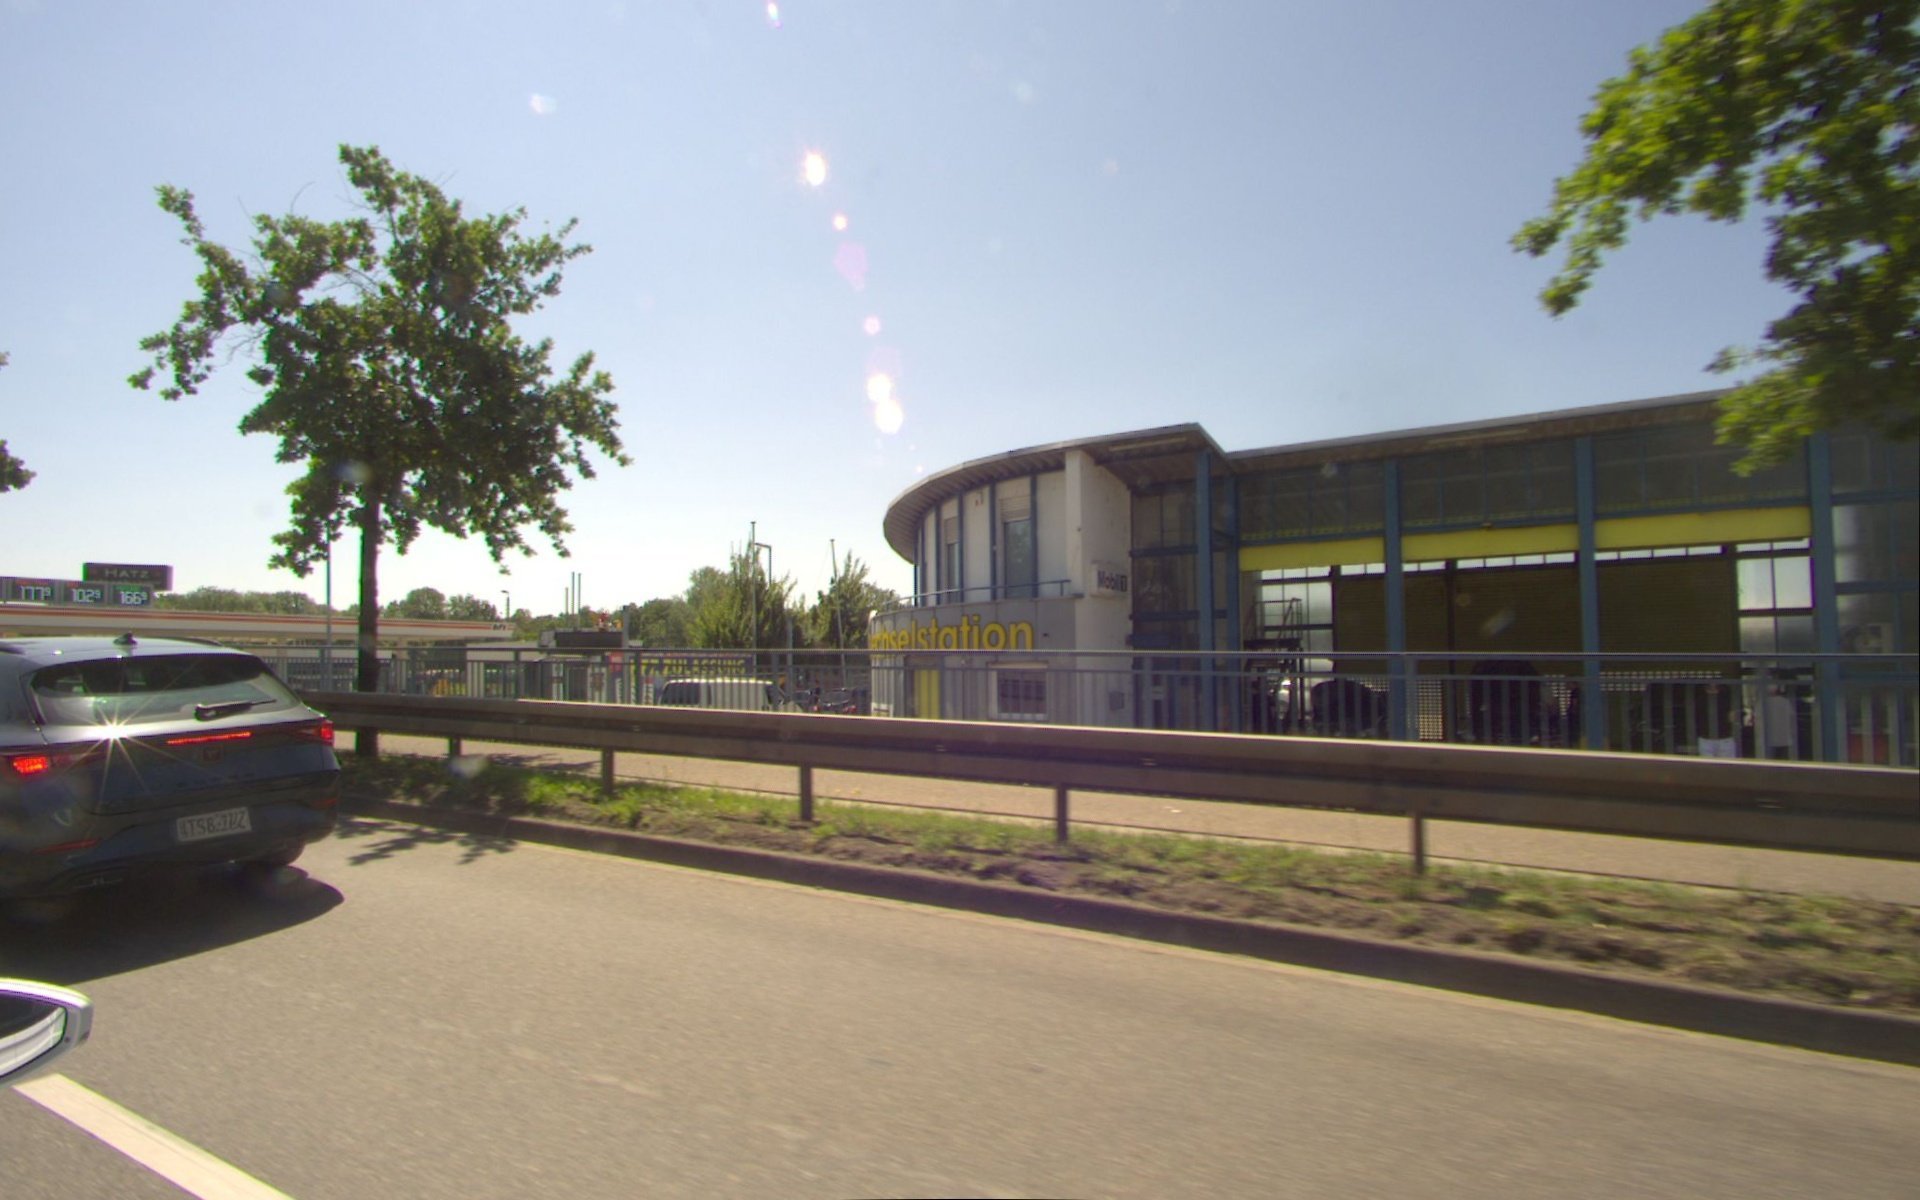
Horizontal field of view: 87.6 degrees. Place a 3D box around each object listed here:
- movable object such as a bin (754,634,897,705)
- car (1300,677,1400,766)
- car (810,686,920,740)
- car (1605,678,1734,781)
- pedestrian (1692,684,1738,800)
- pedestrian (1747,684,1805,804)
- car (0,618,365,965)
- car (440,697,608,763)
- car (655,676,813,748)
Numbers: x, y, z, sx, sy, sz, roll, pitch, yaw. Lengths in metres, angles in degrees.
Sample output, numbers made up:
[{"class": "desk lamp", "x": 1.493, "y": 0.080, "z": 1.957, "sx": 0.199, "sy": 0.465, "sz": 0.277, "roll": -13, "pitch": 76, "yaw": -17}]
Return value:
[{"class": "movable object such as a bin", "x": -7.573, "y": 3.927, "z": 58.640, "sx": 2.987, "sy": 3.753, "sz": 11.053, "roll": -2, "pitch": -3, "yaw": 23}, {"class": "car", "x": 8.853, "y": 2.650, "z": 22.600, "sx": 1.626, "sy": 1.705, "sz": 3.666, "roll": -2, "pitch": -3, "yaw": 28}, {"class": "car", "x": -3.089, "y": 3.699, "z": 33.227, "sx": 1.451, "sy": 1.493, "sz": 4.128, "roll": -2, "pitch": -3, "yaw": 31}, {"class": "car", "x": 13.874, "y": 2.453, "z": 19.765, "sx": 1.626, "sy": 1.705, "sz": 3.665, "roll": -2, "pitch": -3, "yaw": 29}, {"class": "pedestrian", "x": 11.641, "y": 2.170, "z": 15.454, "sx": 0.482, "sy": 1.724, "sz": 0.520, "roll": -2, "pitch": -2, "yaw": 34}, {"class": "pedestrian", "x": 12.240, "y": 2.140, "z": 15.034, "sx": 0.581, "sy": 1.724, "sz": 0.425, "roll": -2, "pitch": -2, "yaw": 33}, {"class": "car", "x": -5.592, "y": 0.920, "z": 5.948, "sx": 4.170, "sy": 1.474, "sz": 1.604, "roll": -2, "pitch": -3, "yaw": 28}, {"class": "car", "x": -10.011, "y": 2.980, "z": 23.161, "sx": 3.254, "sy": 1.325, "sz": 1.466, "roll": -1, "pitch": -2, "yaw": -5}, {"class": "car", "x": -6.183, "y": 3.034, "z": 27.923, "sx": 1.573, "sy": 1.680, "sz": 4.588, "roll": -2, "pitch": -3, "yaw": 31}]
